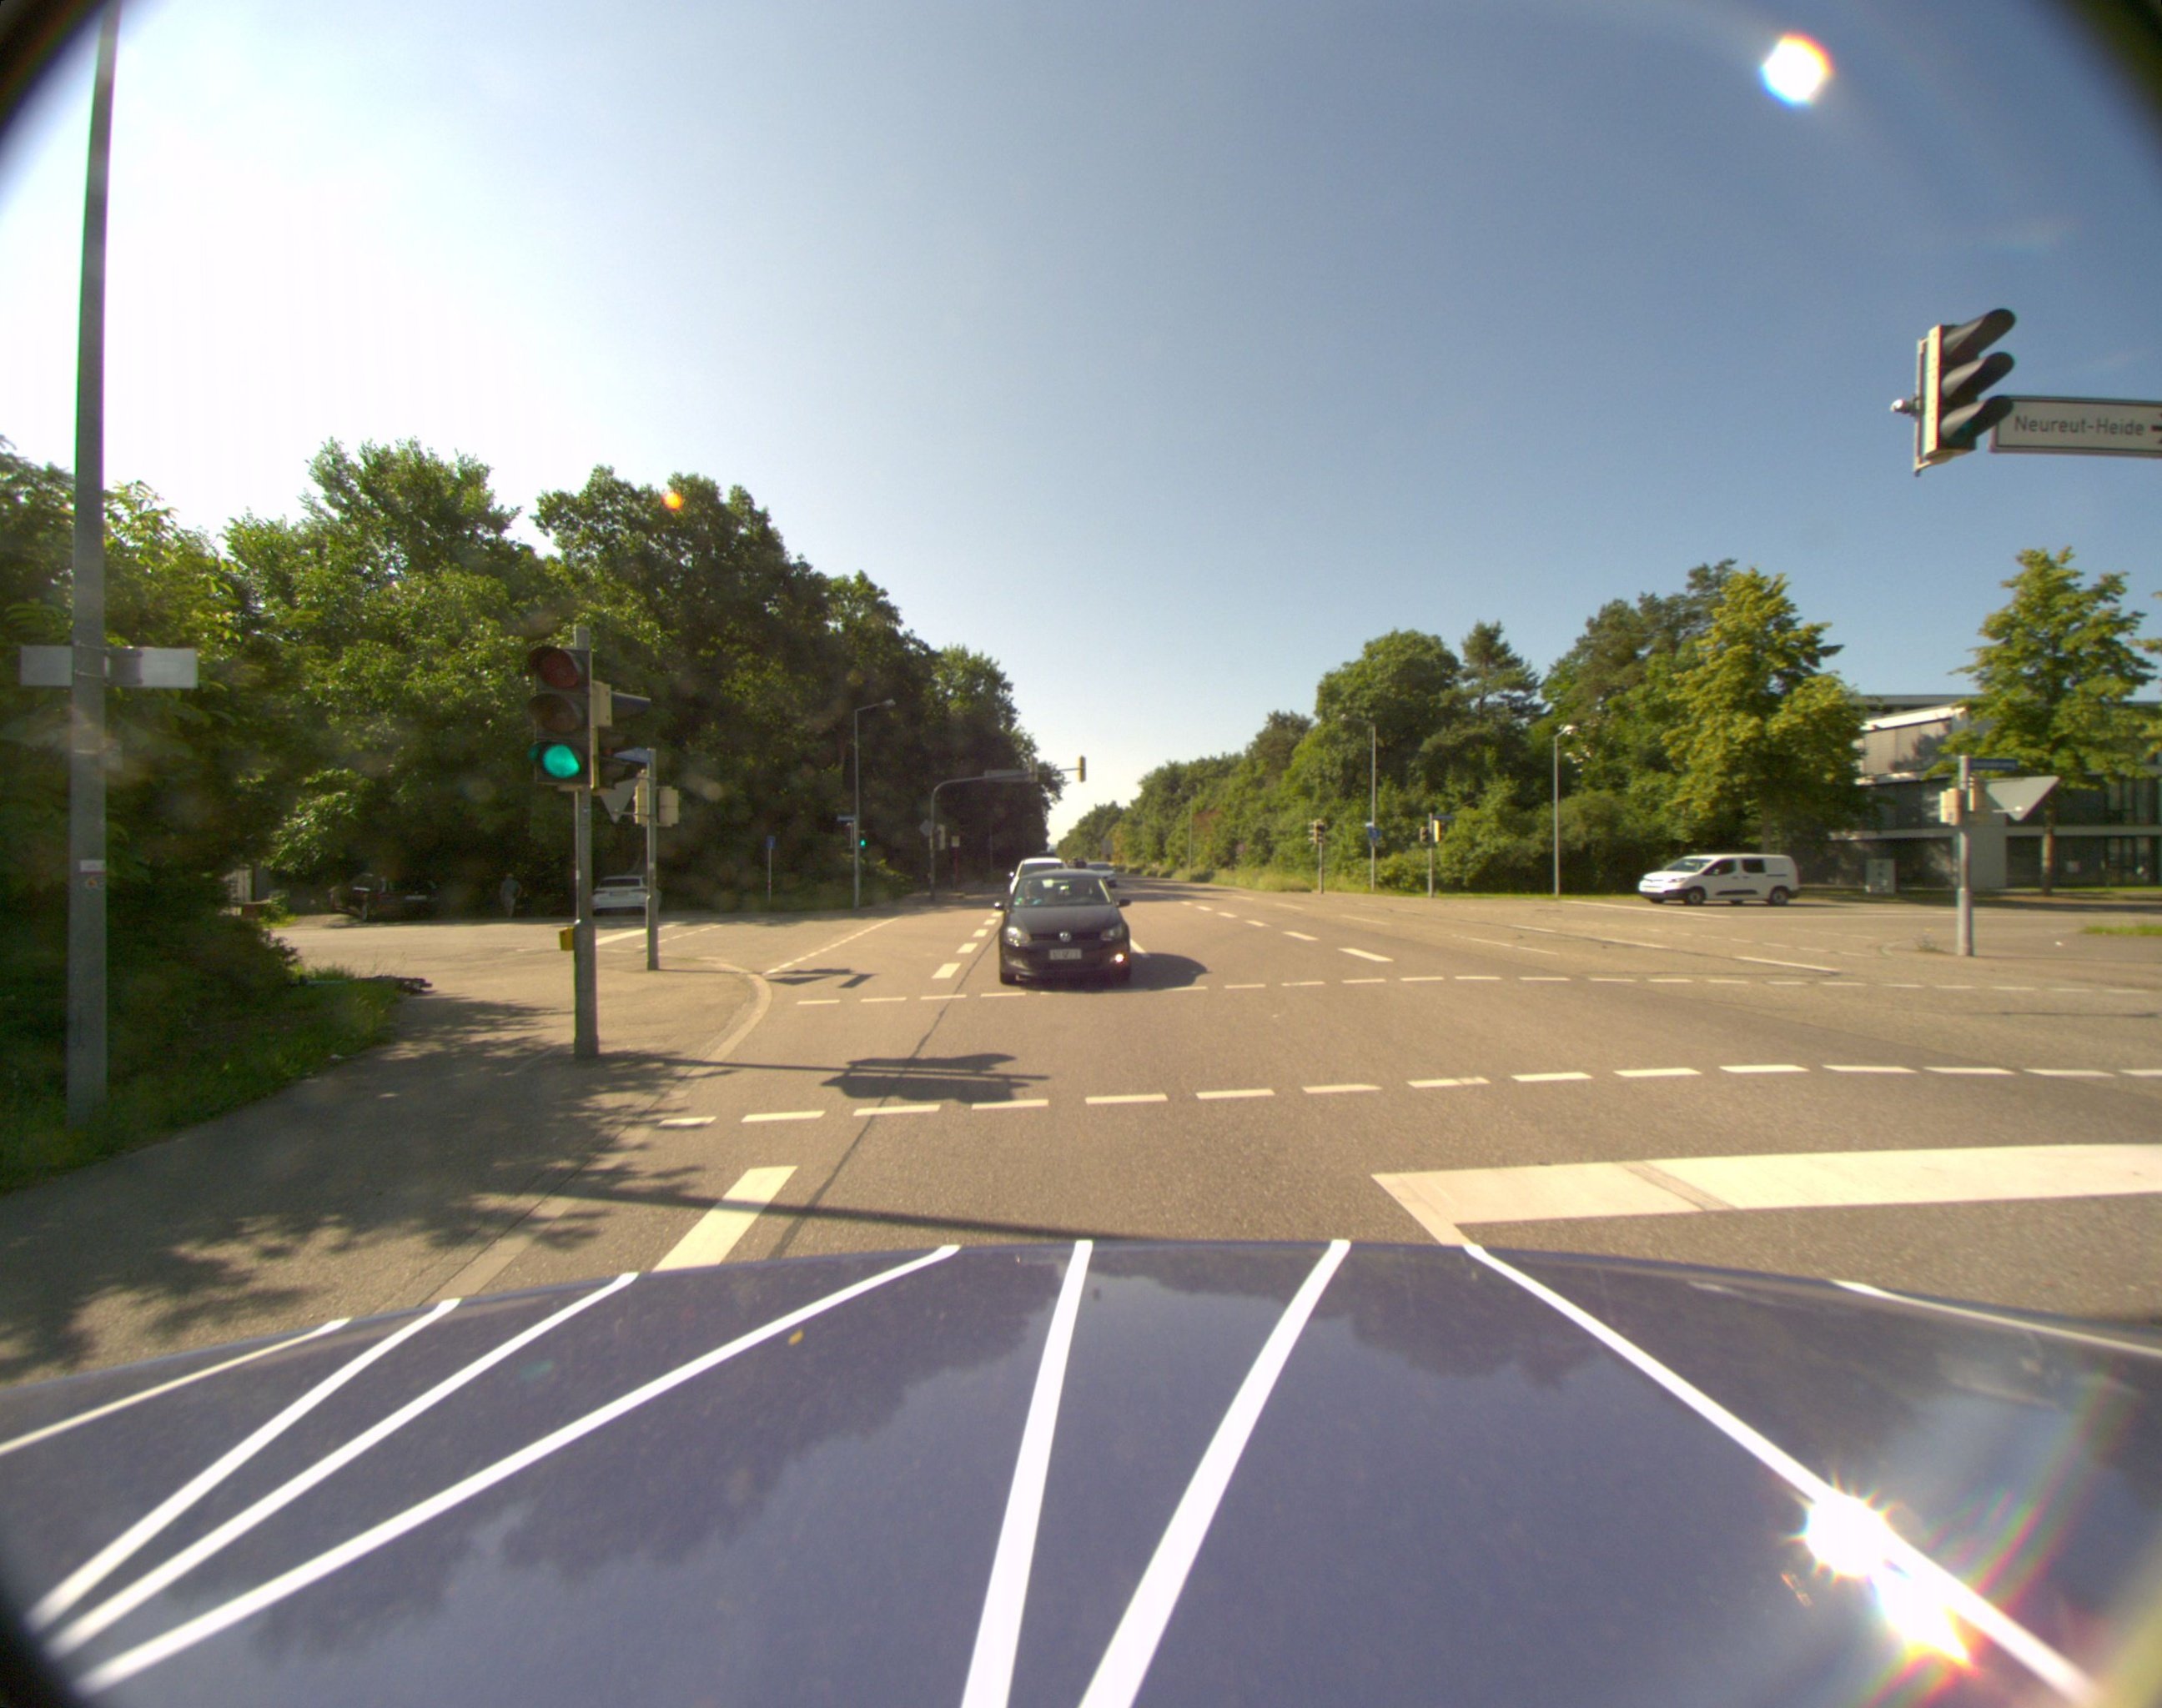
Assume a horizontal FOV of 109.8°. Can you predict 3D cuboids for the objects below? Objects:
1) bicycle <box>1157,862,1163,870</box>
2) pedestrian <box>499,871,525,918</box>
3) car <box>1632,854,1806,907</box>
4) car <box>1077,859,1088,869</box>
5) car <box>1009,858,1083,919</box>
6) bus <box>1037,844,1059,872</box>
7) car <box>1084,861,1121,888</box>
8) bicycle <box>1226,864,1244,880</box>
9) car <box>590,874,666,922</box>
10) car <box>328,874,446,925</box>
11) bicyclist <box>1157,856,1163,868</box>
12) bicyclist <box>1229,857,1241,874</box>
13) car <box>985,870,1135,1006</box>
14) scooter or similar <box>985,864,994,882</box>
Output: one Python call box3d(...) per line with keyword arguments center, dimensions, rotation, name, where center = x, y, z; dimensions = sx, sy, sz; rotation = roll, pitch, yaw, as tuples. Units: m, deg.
box3d(center=(10.216, 1.561, 98.241), dimensions=(0.606, 0.909, 2.138), rotation=(-1, 0, -1), name="bicycle")
box3d(center=(-19.797, 1.396, 26.429), dimensions=(0.413, 1.620, 0.611), rotation=(0, 0, 38), name="pedestrian")
box3d(center=(22.447, 0.918, 26.846), dimensions=(4.659, 1.767, 1.852), rotation=(1, 1, -2), name="car")
box3d(center=(0.214, 1.643, 129.250), dimensions=(1.796, 1.687, 4.390), rotation=(1, 0, -2), name="car")
box3d(center=(-0.977, 0.973, 23.359), dimensions=(1.812, 1.639, 4.308), rotation=(-2, 0, 3), name="car")
box3d(center=(-4.434, 0.485, 101.555), dimensions=(2.783, 3.437, 7.791), rotation=(-2, 1, -3), name="bus")
box3d(center=(1.170, 1.121, 43.736), dimensions=(1.789, 1.416, 4.422), rotation=(-2, 0, -2), name="car")
box3d(center=(11.858, 1.371, 58.443), dimensions=(0.734, 1.156, 2.372), rotation=(-1, 0, -4), name="bicycle")
box3d(center=(-15.947, 1.477, 26.953), dimensions=(1.631, 1.455, 4.606), rotation=(0, 0, -22), name="car")
box3d(center=(-21.776, 1.367, 23.814), dimensions=(3.780, 1.455, 1.632), rotation=(0, 0, 30), name="car")
box3d(center=(10.176, 0.995, 98.298), dimensions=(0.612, 1.458, 0.944), rotation=(-2, 1, -1), name="bicyclist")
box3d(center=(11.851, 0.876, 58.463), dimensions=(0.723, 1.303, 0.883), rotation=(-1, 0, -5), name="bicyclist")
box3d(center=(-0.262, 1.003, 10.718), dimensions=(1.650, 1.422, 4.055), rotation=(-3, 0, -1), name="car")
box3d(center=(-6.904, 1.429, 57.155), dimensions=(0.401, 1.299, 1.328), rotation=(-1, 0, -17), name="scooter or similar")
